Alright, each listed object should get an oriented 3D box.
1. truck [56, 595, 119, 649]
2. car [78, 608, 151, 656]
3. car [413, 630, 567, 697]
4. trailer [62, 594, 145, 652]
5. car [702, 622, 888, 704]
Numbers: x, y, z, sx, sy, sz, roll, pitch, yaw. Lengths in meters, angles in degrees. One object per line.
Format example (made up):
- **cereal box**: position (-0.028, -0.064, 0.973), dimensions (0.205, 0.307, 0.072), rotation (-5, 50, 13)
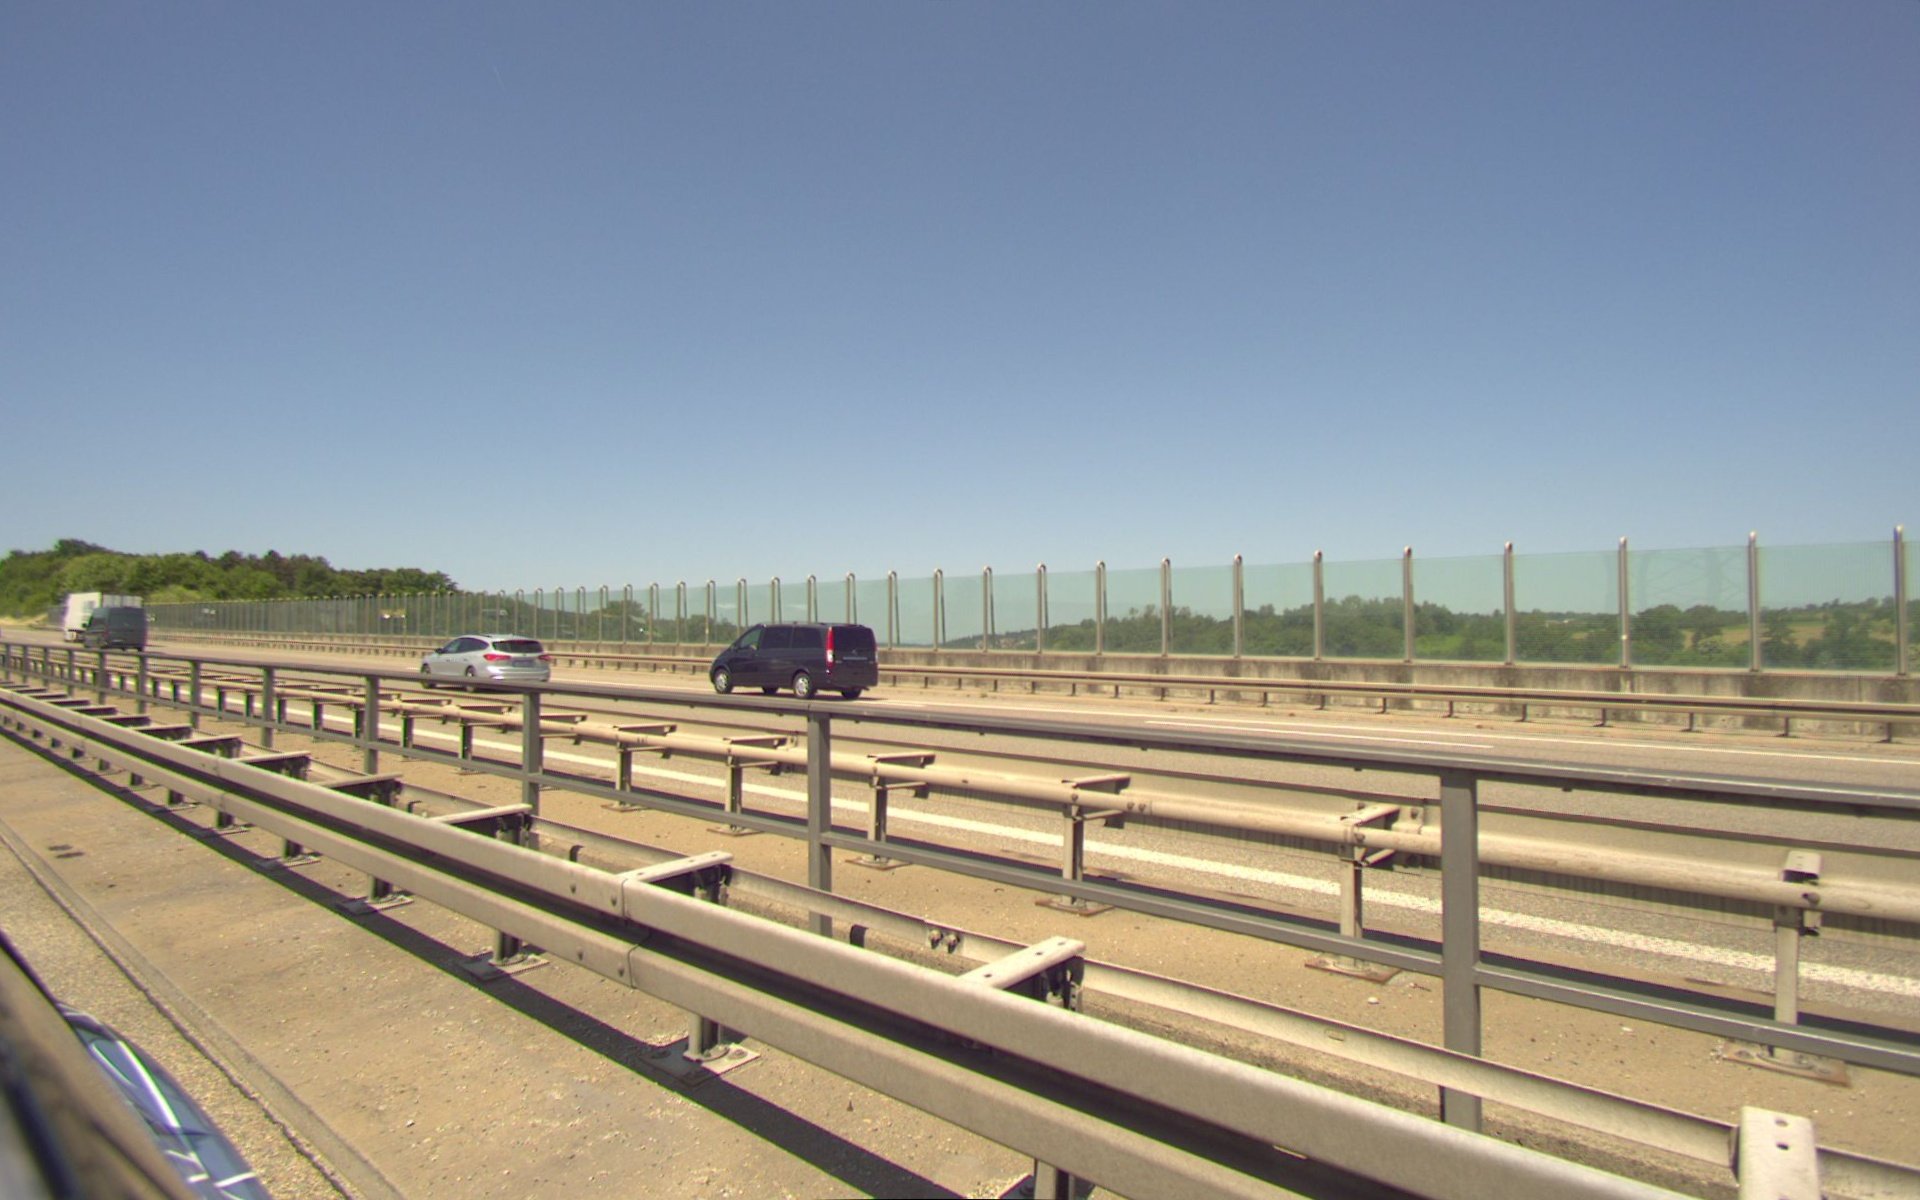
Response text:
- **truck**: position (-73.572, 1.857, 85.291), dimensions (6.855, 4.326, 2.898), rotation (-1, -4, 42)
- **car**: position (-48.613, 1.801, 58.125), dimensions (6.644, 2.602, 1.973), rotation (-1, -3, 40)
- **car**: position (-12.218, 1.588, 26.172), dimensions (4.383, 1.556, 1.973), rotation (-1, -3, 41)
- **trailer**: position (-68.444, 1.814, 80.709), dimensions (13.653, 4.340, 2.876), rotation (-1, -3, 41)
- **car**: position (-4.348, 1.555, 26.161), dimensions (4.946, 1.920, 1.937), rotation (-1, -3, 39)
